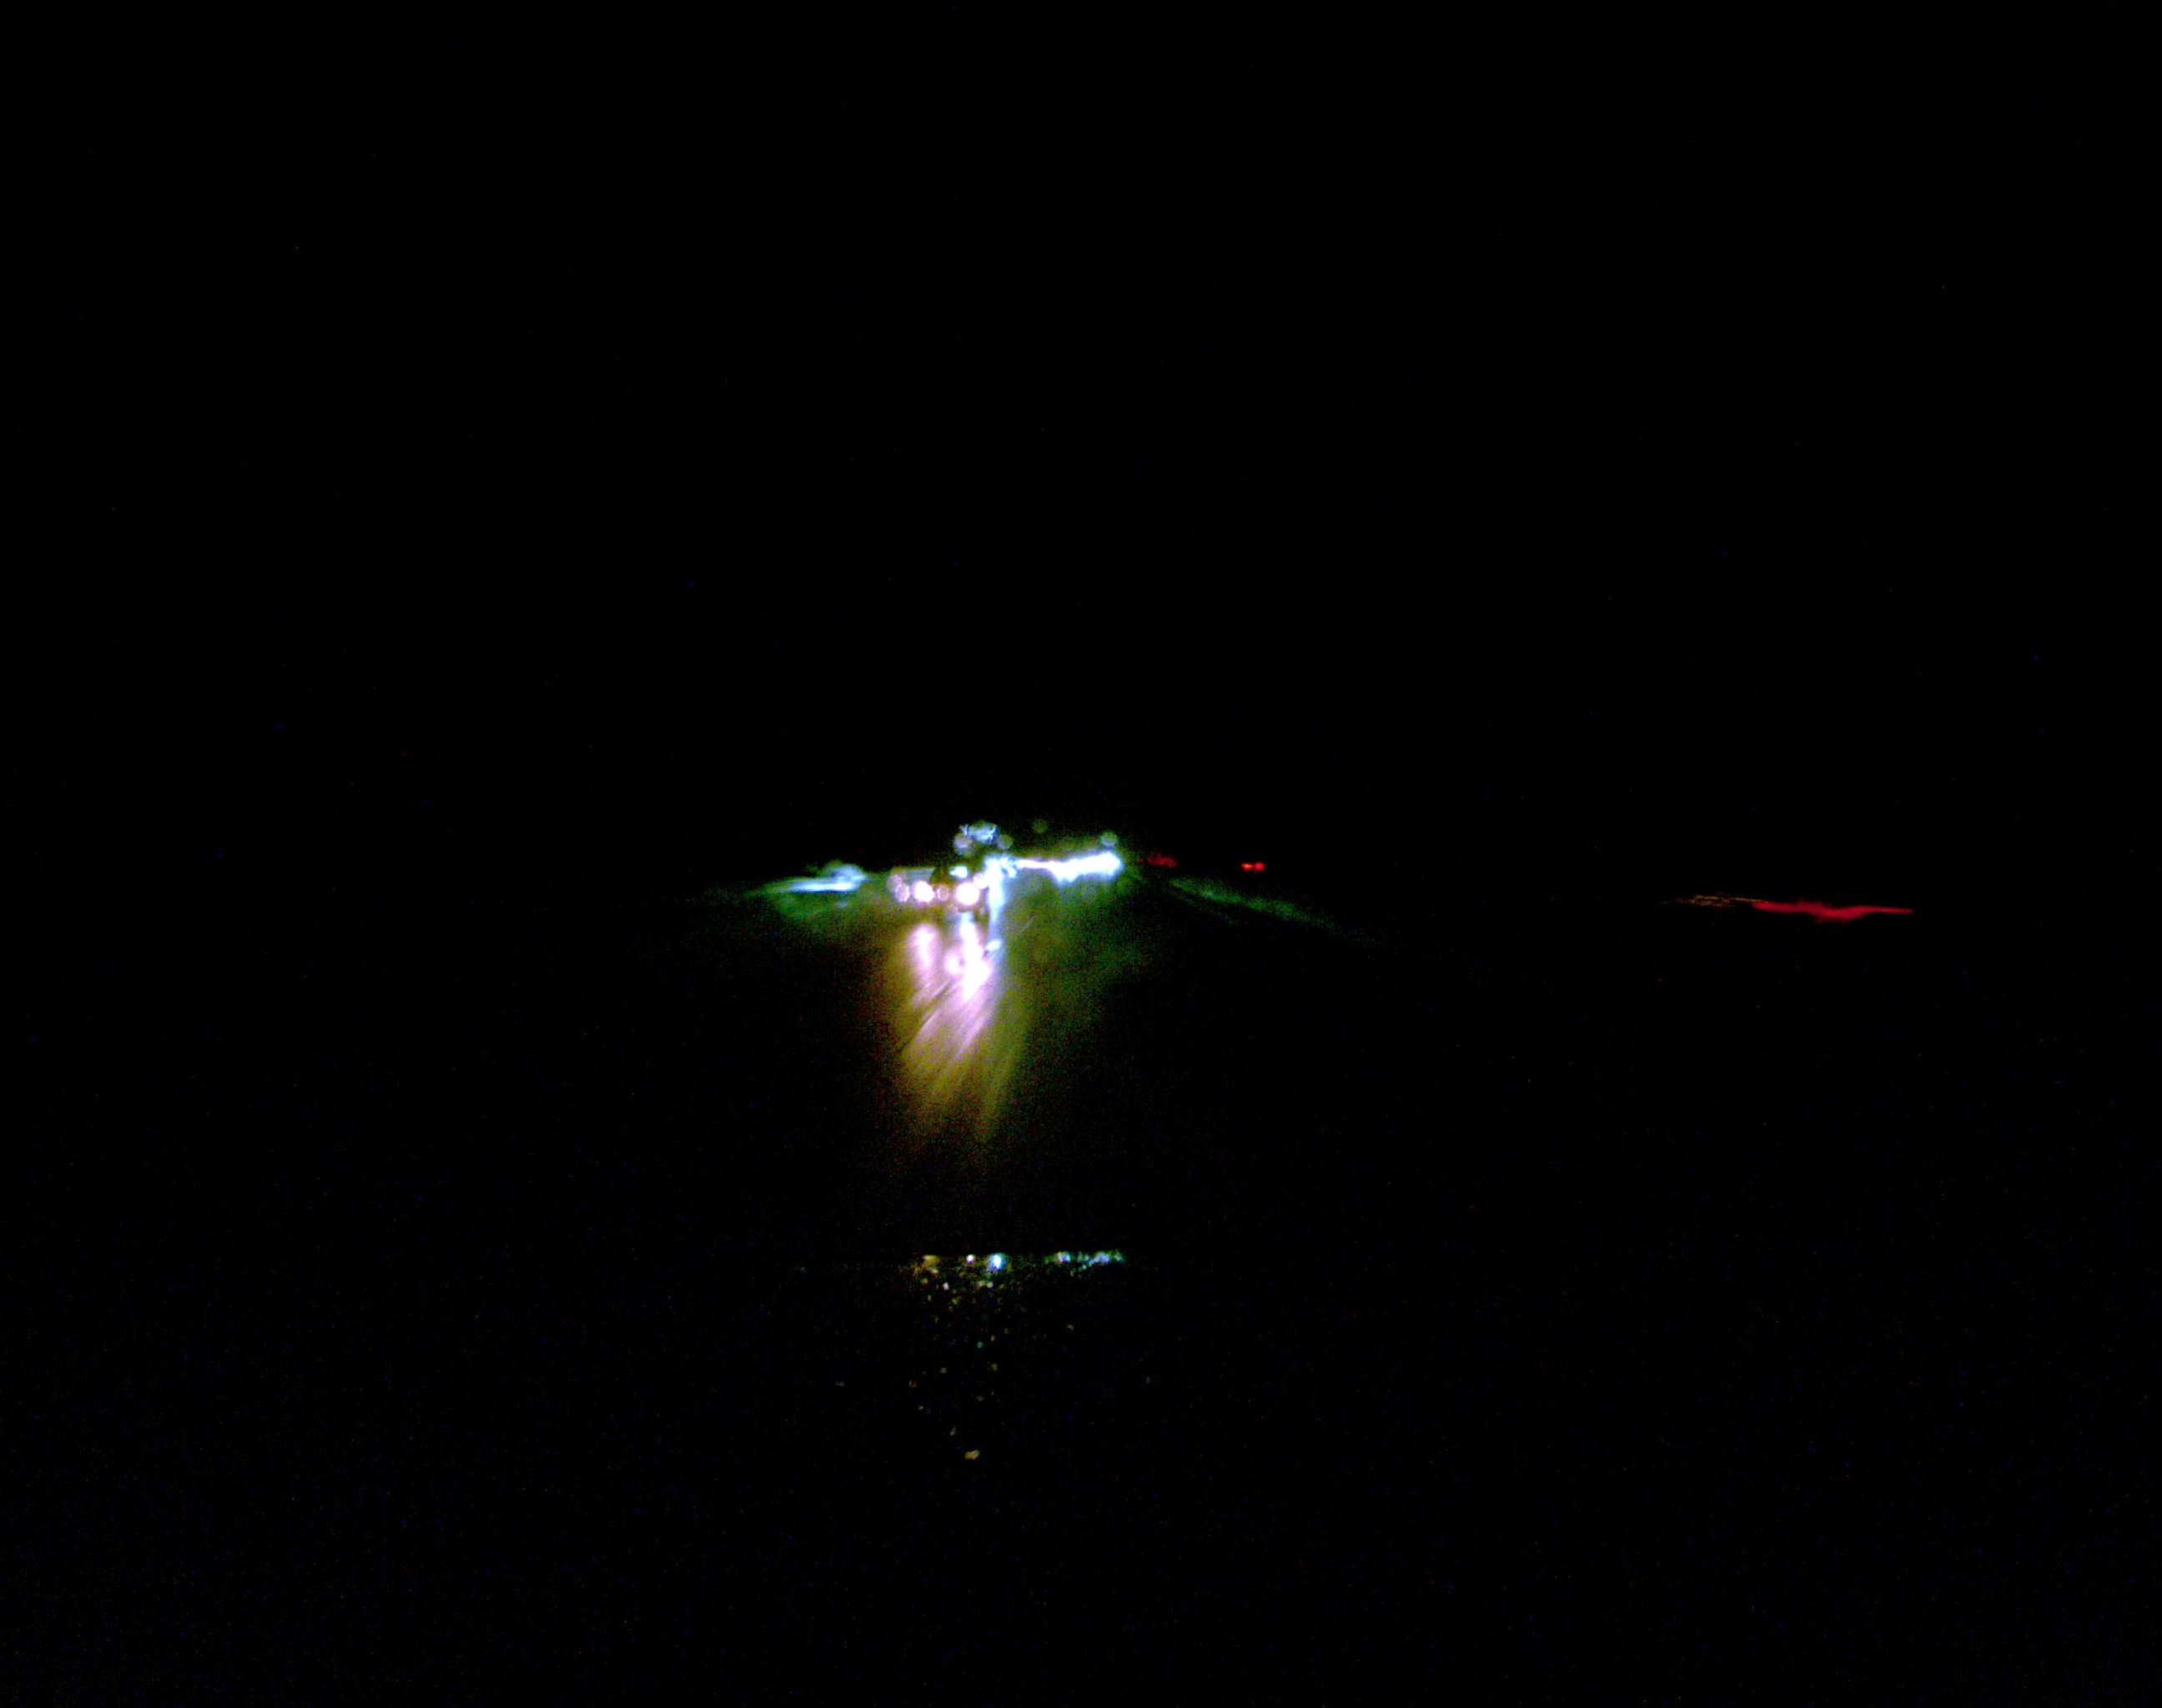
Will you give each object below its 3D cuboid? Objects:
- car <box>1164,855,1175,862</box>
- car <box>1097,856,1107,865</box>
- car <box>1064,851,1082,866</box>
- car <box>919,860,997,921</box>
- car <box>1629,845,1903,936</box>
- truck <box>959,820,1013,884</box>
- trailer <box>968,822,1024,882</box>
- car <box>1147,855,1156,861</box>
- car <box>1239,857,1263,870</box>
[{"bbox_3d":[17.807,0.929,153.464,1.786,1.471,4.509,1,0,1],"label":"car"},{"bbox_3d":[3.531,1.103,129.271,1.619,1.452,3.767,-2,1,1],"label":"car"},{"bbox_3d":[-0.885,0.493,87.703,1.945,1.521,4.000,-2,1,1],"label":"car"},{"bbox_3d":[-3.465,0.985,21.975,1.619,1.494,3.767,-2,1,-1],"label":"car"},{"bbox_3d":[21.200,1.009,24.237,2.387,2.429,7.147,1,0,1],"label":"car"},{"bbox_3d":[-6.597,-0.143,53.596,2.778,4.168,6.016,-3,1,1],"label":"truck"},{"bbox_3d":[-6.480,-0.190,59.974,2.753,4.168,11.179,-3,0,1],"label":"trailer"},{"bbox_3d":[17.491,1.028,188.281,1.786,1.471,4.509,1,0,1],"label":"car"},{"bbox_3d":[18.844,1.027,84.416,1.786,1.471,4.509,1,0,1],"label":"car"}]
